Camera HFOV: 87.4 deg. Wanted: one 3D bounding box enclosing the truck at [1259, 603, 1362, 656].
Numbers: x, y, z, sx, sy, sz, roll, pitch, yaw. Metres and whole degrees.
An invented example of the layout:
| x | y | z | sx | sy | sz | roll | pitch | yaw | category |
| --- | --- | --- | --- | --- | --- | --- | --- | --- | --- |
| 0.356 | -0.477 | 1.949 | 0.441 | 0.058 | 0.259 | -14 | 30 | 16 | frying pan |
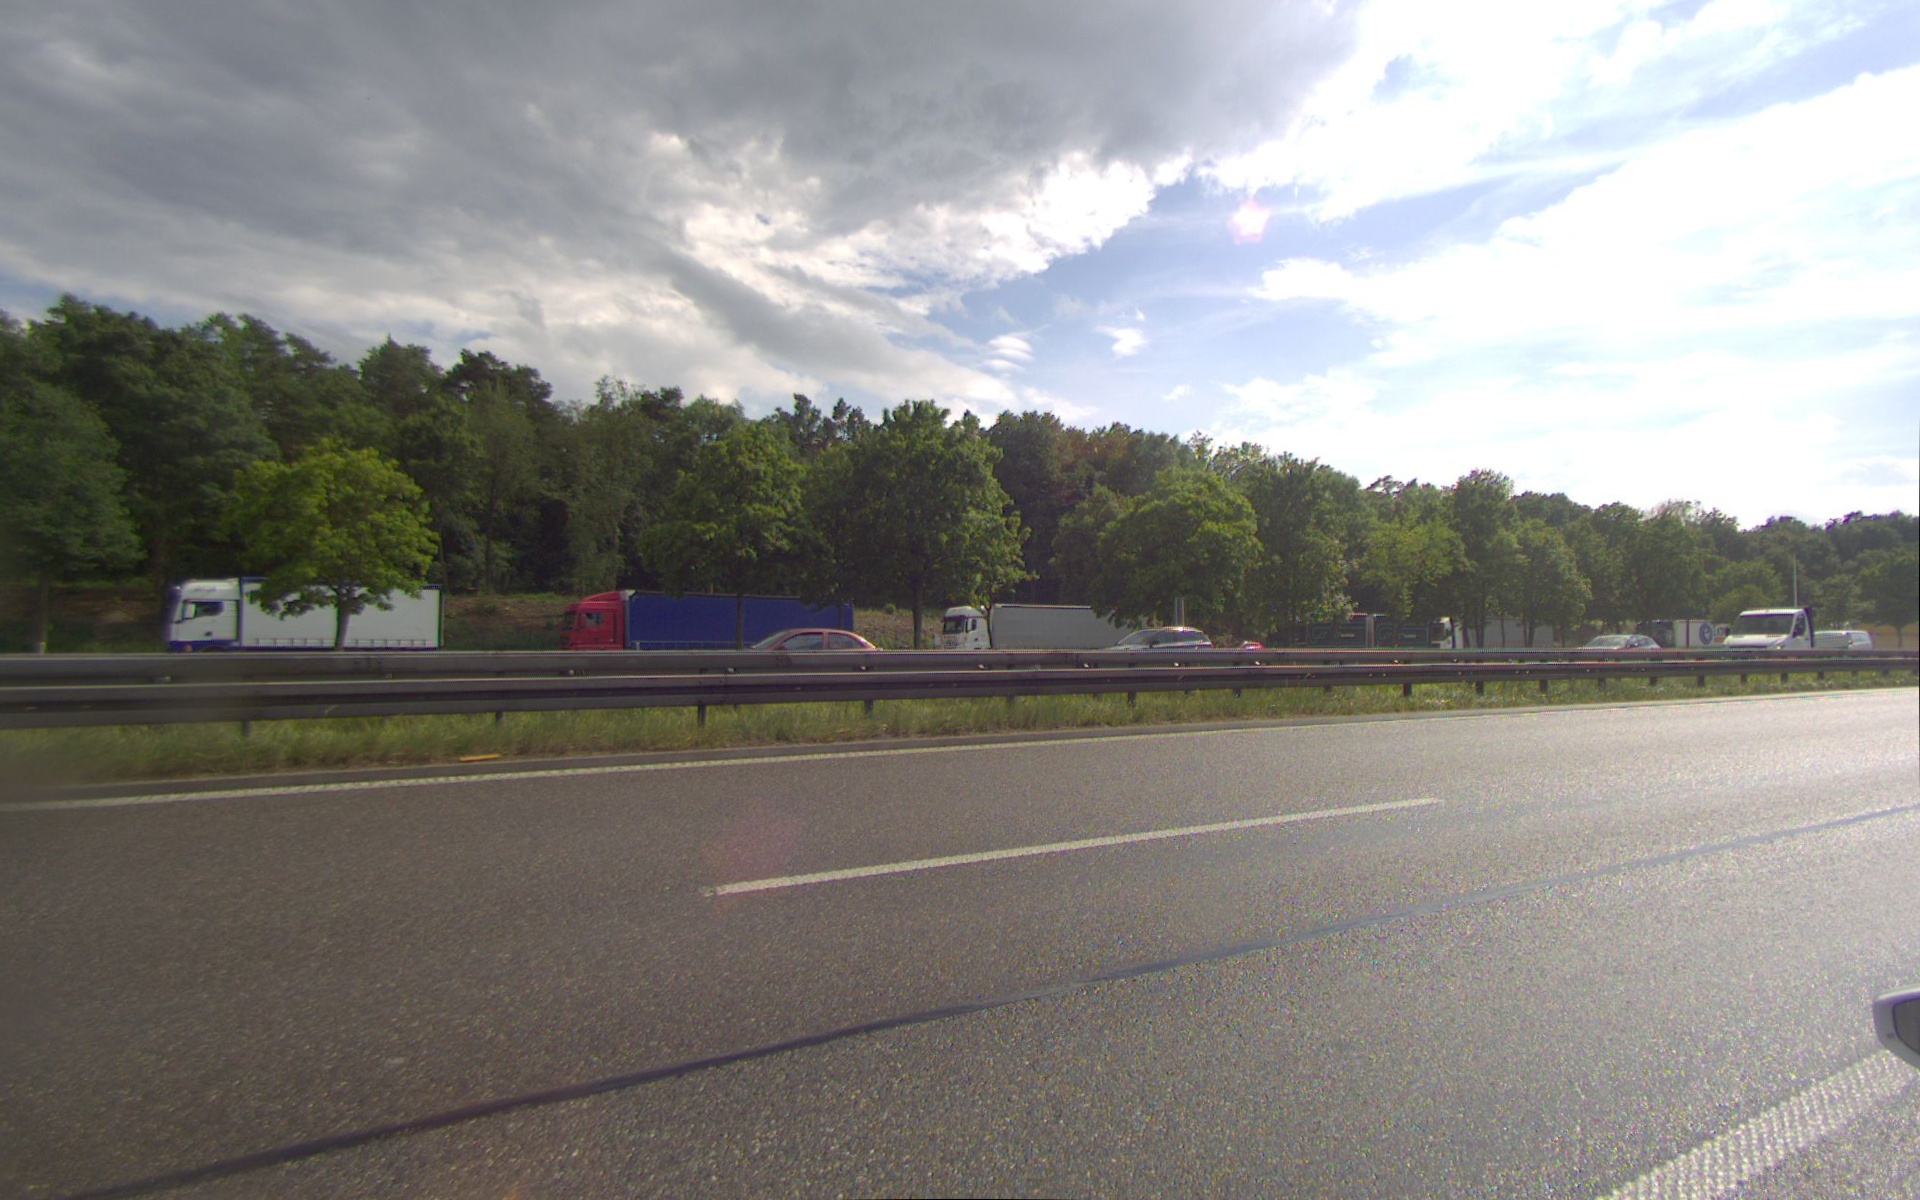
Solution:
| x | y | z | sx | sy | sz | roll | pitch | yaw | category |
| --- | --- | --- | --- | --- | --- | --- | --- | --- | --- |
| 30.070 | 2.565 | 86.069 | 8.316 | 4.290 | 3.771 | 2 | 0 | -29 | truck |

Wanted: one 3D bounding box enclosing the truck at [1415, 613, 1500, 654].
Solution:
| x | y | z | sx | sy | sz | roll | pitch | yaw | category |
| --- | --- | --- | --- | --- | --- | --- | --- | --- | --- |
| 47.048 | 3.173 | 95.032 | 7.266 | 3.637 | 3.771 | 2 | 0 | -29 | truck |

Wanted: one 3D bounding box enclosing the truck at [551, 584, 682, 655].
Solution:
| x | y | z | sx | sy | sz | roll | pitch | yaw | category |
| --- | --- | --- | --- | --- | --- | --- | --- | --- | --- |
| -17.872 | 1.028 | 52.424 | 5.843 | 3.502 | 2.839 | 2 | 0 | -37 | truck |

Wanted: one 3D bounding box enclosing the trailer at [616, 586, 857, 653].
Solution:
| x | y | z | sx | sy | sz | roll | pitch | yaw | category |
| --- | --- | --- | --- | --- | --- | --- | --- | --- | --- |
| -12.265 | 1.187 | 56.686 | 13.303 | 3.450 | 2.802 | 2 | -2 | -37 | trailer |

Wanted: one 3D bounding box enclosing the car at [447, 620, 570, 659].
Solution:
| x | y | z | sx | sy | sz | roll | pitch | yaw | category |
| --- | --- | --- | --- | --- | --- | --- | --- | --- | --- |
| -25.691 | 2.253 | 57.282 | 6.080 | 2.040 | 1.978 | 2 | 0 | -39 | car |

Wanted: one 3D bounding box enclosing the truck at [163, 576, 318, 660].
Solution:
| x | y | z | sx | sy | sz | roll | pitch | yaw | category |
| --- | --- | --- | --- | --- | --- | --- | --- | --- | --- |
| -30.106 | 0.751 | 42.089 | 5.046 | 3.311 | 2.631 | 2 | 0 | -41 | truck |

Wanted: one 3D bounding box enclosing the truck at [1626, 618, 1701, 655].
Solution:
| x | y | z | sx | sy | sz | roll | pitch | yaw | category |
| --- | --- | --- | --- | --- | --- | --- | --- | --- | --- |
| 76.171 | 3.977 | 108.755 | 6.613 | 3.709 | 3.777 | 2 | 0 | -24 | truck |

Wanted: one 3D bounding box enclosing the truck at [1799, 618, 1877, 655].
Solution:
| x | y | z | sx | sy | sz | roll | pitch | yaw | category |
| --- | --- | --- | --- | --- | --- | --- | --- | --- | --- |
| 104.321 | 4.337 | 119.361 | 6.931 | 4.171 | 3.787 | 2 | 0 | -16 | truck |

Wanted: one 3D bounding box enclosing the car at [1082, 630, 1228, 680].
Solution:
| x | y | z | sx | sy | sz | roll | pitch | yaw | category |
| --- | --- | --- | --- | --- | --- | --- | --- | --- | --- |
| 6.129 | 1.707 | 31.498 | 4.382 | 1.411 | 1.821 | 2 | 0 | -30 | car |

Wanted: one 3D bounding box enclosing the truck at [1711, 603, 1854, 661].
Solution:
| x | y | z | sx | sy | sz | roll | pitch | yaw | category |
| --- | --- | --- | --- | --- | --- | --- | --- | --- | --- |
| 29.639 | 1.175 | 36.175 | 5.383 | 1.920 | 2.246 | 2 | 0 | -30 | truck |

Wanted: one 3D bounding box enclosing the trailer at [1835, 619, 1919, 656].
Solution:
| x | y | z | sx | sy | sz | roll | pitch | yaw | category |
| --- | --- | --- | --- | --- | --- | --- | --- | --- | --- |
| 112.278 | 4.604 | 121.694 | 11.534 | 4.171 | 3.787 | 2 | 0 | -16 | trailer |

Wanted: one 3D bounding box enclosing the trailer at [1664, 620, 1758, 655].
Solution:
| x | y | z | sx | sy | sz | roll | pitch | yaw | category |
| --- | --- | --- | --- | --- | --- | --- | --- | --- | --- |
| 83.855 | 4.191 | 112.122 | 10.346 | 3.697 | 3.781 | 1 | -1 | -23 | trailer |

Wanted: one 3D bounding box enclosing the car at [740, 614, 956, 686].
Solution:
| x | y | z | sx | sy | sz | roll | pitch | yaw | category |
| --- | --- | --- | --- | --- | --- | --- | --- | --- | --- |
| -2.445 | 1.092 | 22.180 | 4.382 | 1.411 | 1.821 | 2 | 0 | -30 | car |

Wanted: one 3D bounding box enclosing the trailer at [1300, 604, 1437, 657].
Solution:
| x | y | z | sx | sy | sz | roll | pitch | yaw | category |
| --- | --- | --- | --- | --- | --- | --- | --- | --- | --- |
| 36.663 | 2.724 | 89.852 | 13.633 | 4.464 | 3.773 | 1 | -1 | -29 | trailer |

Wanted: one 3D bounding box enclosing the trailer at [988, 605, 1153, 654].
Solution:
| x | y | z | sx | sy | sz | roll | pitch | yaw | category |
| --- | --- | --- | --- | --- | --- | --- | --- | --- | --- |
| 8.015 | 2.138 | 71.523 | 12.337 | 3.259 | 3.329 | 2 | -1 | -32 | trailer |

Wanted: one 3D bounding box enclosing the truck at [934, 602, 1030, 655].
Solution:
| x | y | z | sx | sy | sz | roll | pitch | yaw | category |
| --- | --- | --- | --- | --- | --- | --- | --- | --- | --- |
| 1.476 | 1.900 | 67.324 | 5.450 | 3.316 | 3.332 | 2 | 0 | -34 | truck |

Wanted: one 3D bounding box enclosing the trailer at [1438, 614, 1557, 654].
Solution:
| x | y | z | sx | sy | sz | roll | pitch | yaw | category |
| --- | --- | --- | --- | --- | --- | --- | --- | --- | --- |
| 52.649 | 3.350 | 98.166 | 13.183 | 3.697 | 3.773 | 1 | -1 | -29 | trailer |

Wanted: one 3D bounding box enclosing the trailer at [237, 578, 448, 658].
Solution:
| x | y | z | sx | sy | sz | roll | pitch | yaw | category |
| --- | --- | --- | --- | --- | --- | --- | --- | --- | --- |
| -27.276 | 0.842 | 44.599 | 7.678 | 3.275 | 2.558 | 2 | -2 | -40 | trailer |
